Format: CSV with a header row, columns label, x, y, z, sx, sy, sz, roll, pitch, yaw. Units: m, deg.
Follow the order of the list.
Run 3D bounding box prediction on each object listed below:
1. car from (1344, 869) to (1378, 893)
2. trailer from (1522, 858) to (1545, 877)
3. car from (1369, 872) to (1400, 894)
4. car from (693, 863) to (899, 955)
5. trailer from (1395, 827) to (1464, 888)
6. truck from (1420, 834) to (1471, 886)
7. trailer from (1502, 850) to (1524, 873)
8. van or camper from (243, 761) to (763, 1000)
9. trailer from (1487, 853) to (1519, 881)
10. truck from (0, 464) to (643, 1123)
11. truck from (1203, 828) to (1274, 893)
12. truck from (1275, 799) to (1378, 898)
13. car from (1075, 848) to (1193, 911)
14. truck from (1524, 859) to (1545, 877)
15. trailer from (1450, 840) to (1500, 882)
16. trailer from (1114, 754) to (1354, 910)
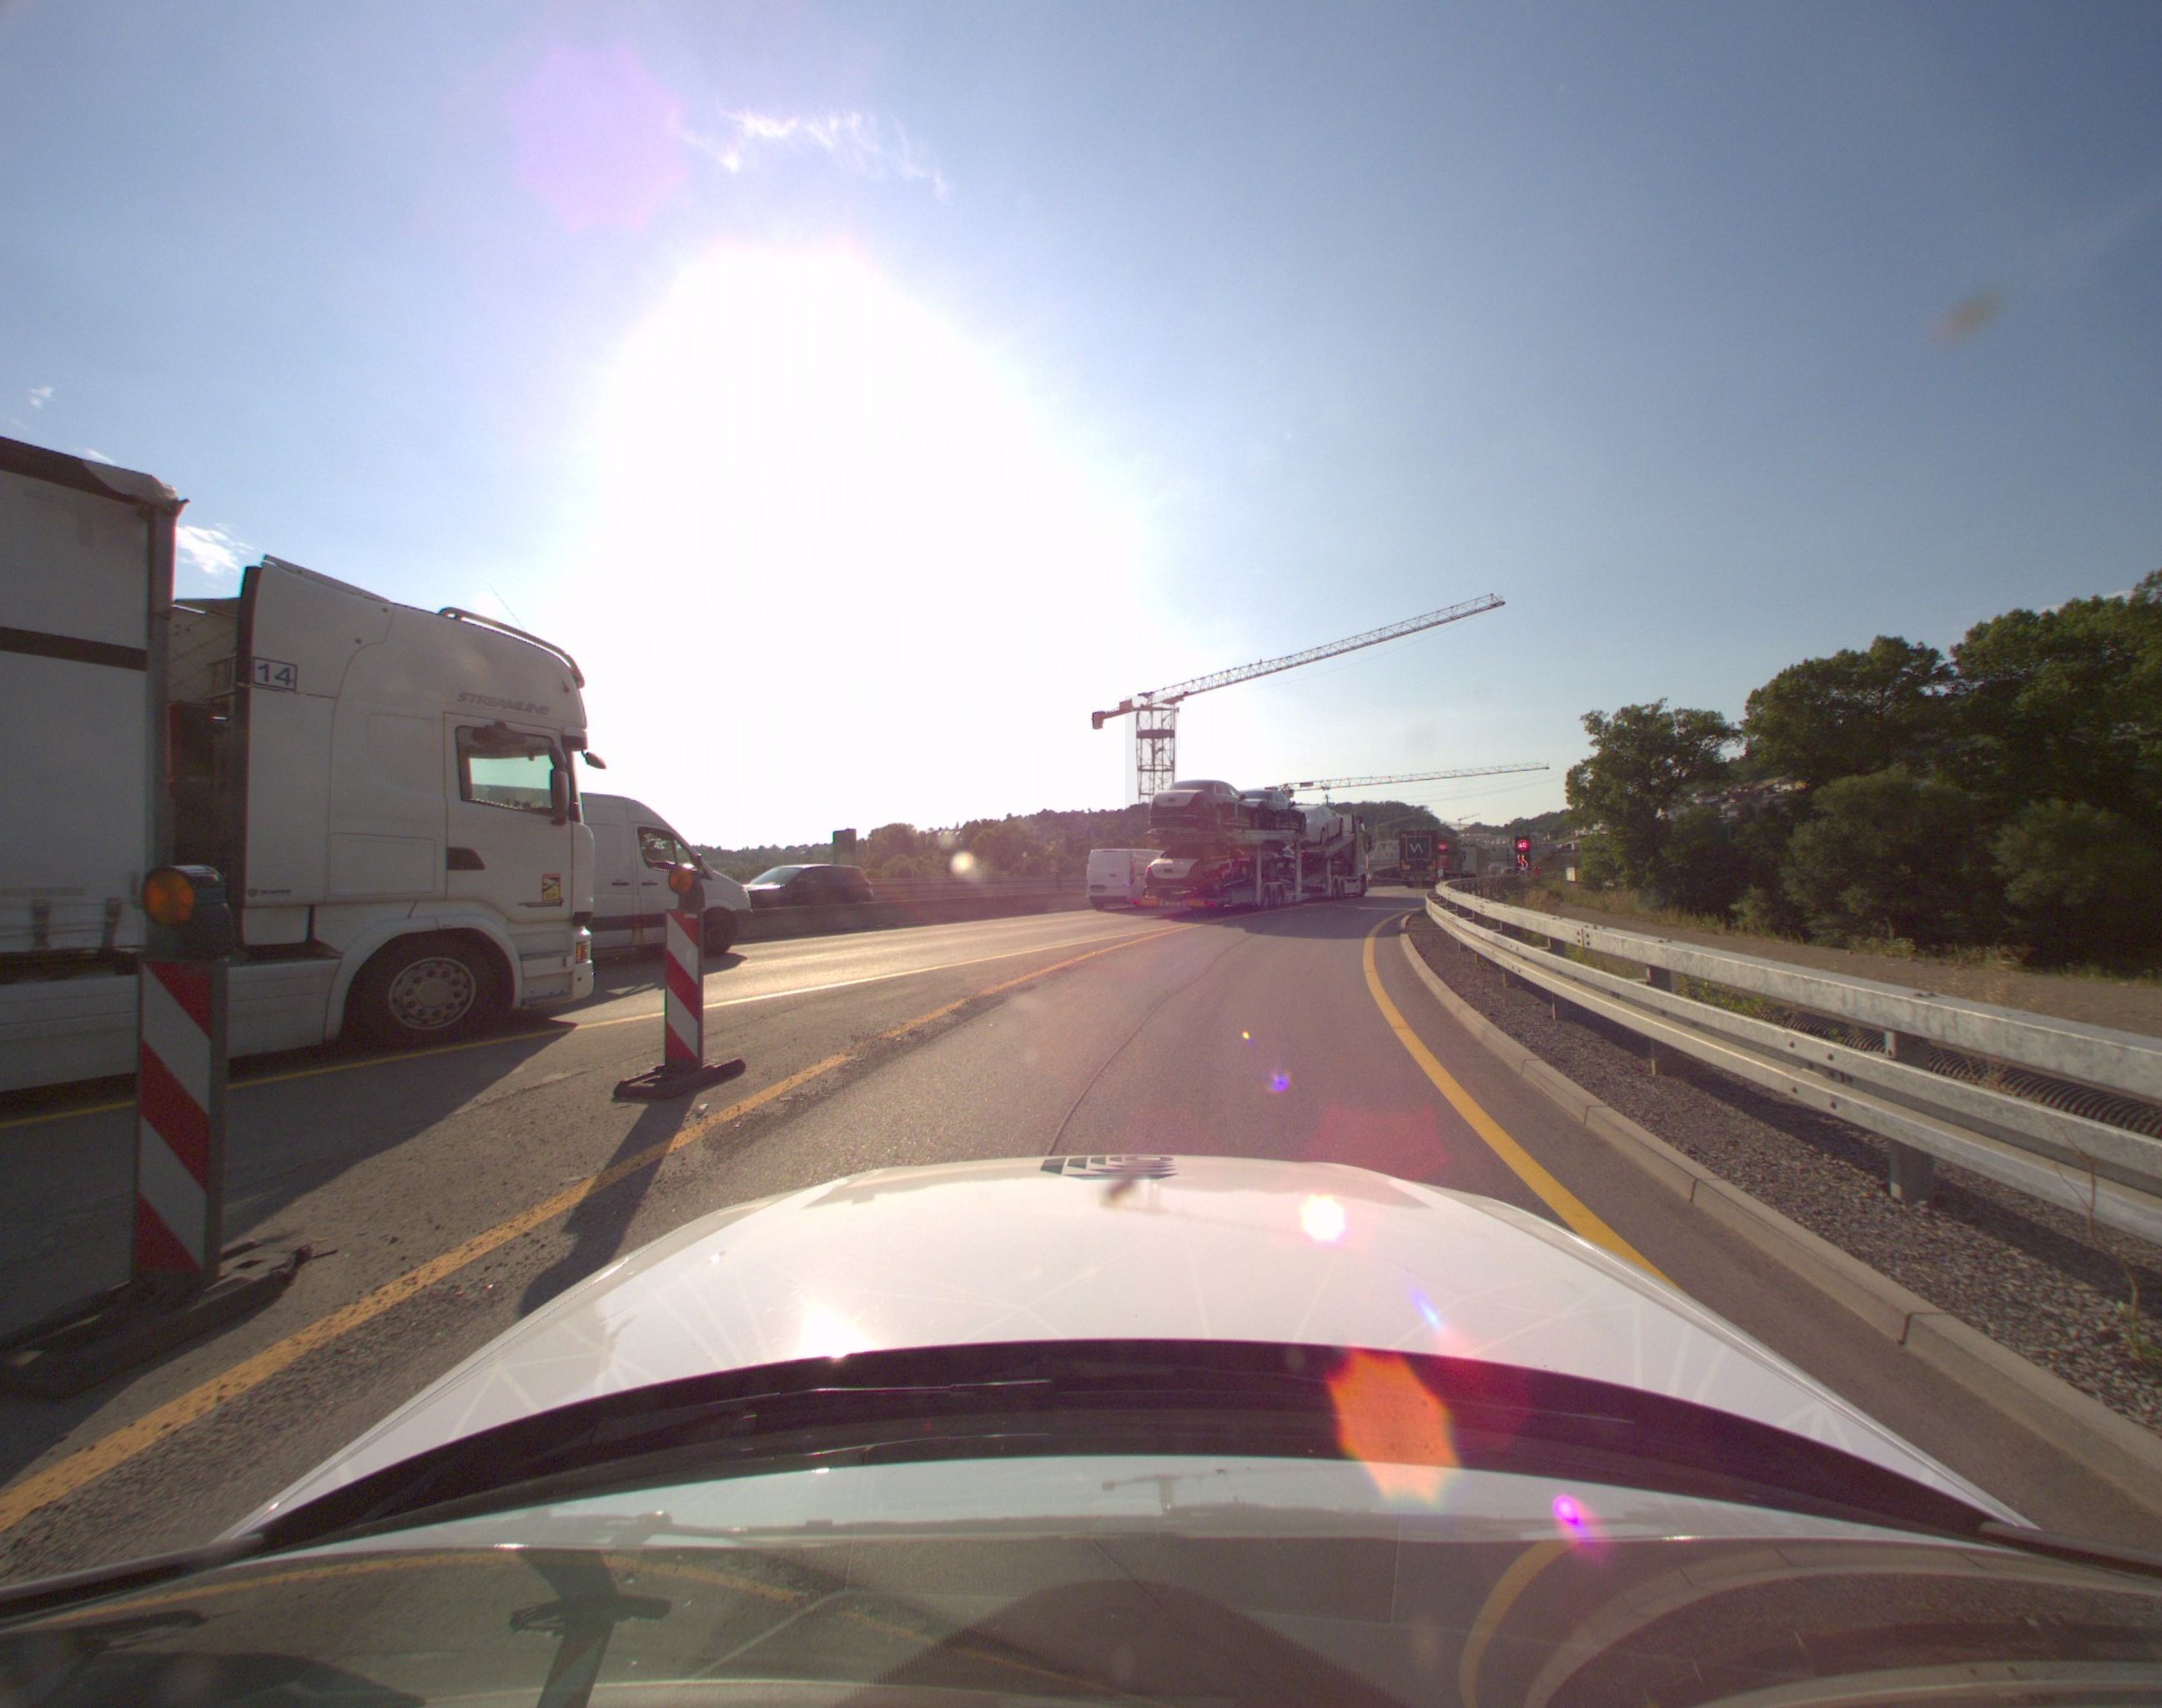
label,x,y,z,sx,sy,sz,roll,pitch,yaw
car,22.155,2.117,64.410,1.812,1.752,4.024,-4,-3,29
trailer,108.238,3.361,194.662,4.057,4.315,14.339,-2,-2,31
car,25.242,2.403,67.654,1.812,1.654,4.024,-4,-3,29
car,-6.781,1.215,19.899,1.871,1.981,4.563,0,-1,32
trailer,26.117,0.364,60.683,2.930,4.092,10.860,-3,-3,32
truck,30.160,0.554,67.228,2.857,3.997,6.665,-2,-3,32
trailer,85.369,1.539,160.902,3.073,4.315,14.339,-2,-2,31
van or camper,-7.844,0.369,12.011,1.974,2.620,5.939,-2,-2,30
trailer,66.229,2.086,127.591,3.352,3.997,14.835,-2,-2,31
truck,-6.980,-0.315,6.133,2.456,3.879,6.048,-2,-2,30
truck,10.801,0.497,55.388,2.602,4.067,6.167,-4,-3,31
truck,11.210,-0.130,36.732,2.821,3.997,6.665,-2,-3,31
car,1.961,0.842,28.356,2.009,1.981,5.010,0,-1,32
truck,111.782,3.532,200.700,3.989,4.286,6.665,-2,-3,31
trailer,41.320,0.833,85.050,3.352,3.997,14.835,-2,-2,31
trailer,6.201,-0.340,28.331,2.829,3.997,15.842,-2,-2,31
